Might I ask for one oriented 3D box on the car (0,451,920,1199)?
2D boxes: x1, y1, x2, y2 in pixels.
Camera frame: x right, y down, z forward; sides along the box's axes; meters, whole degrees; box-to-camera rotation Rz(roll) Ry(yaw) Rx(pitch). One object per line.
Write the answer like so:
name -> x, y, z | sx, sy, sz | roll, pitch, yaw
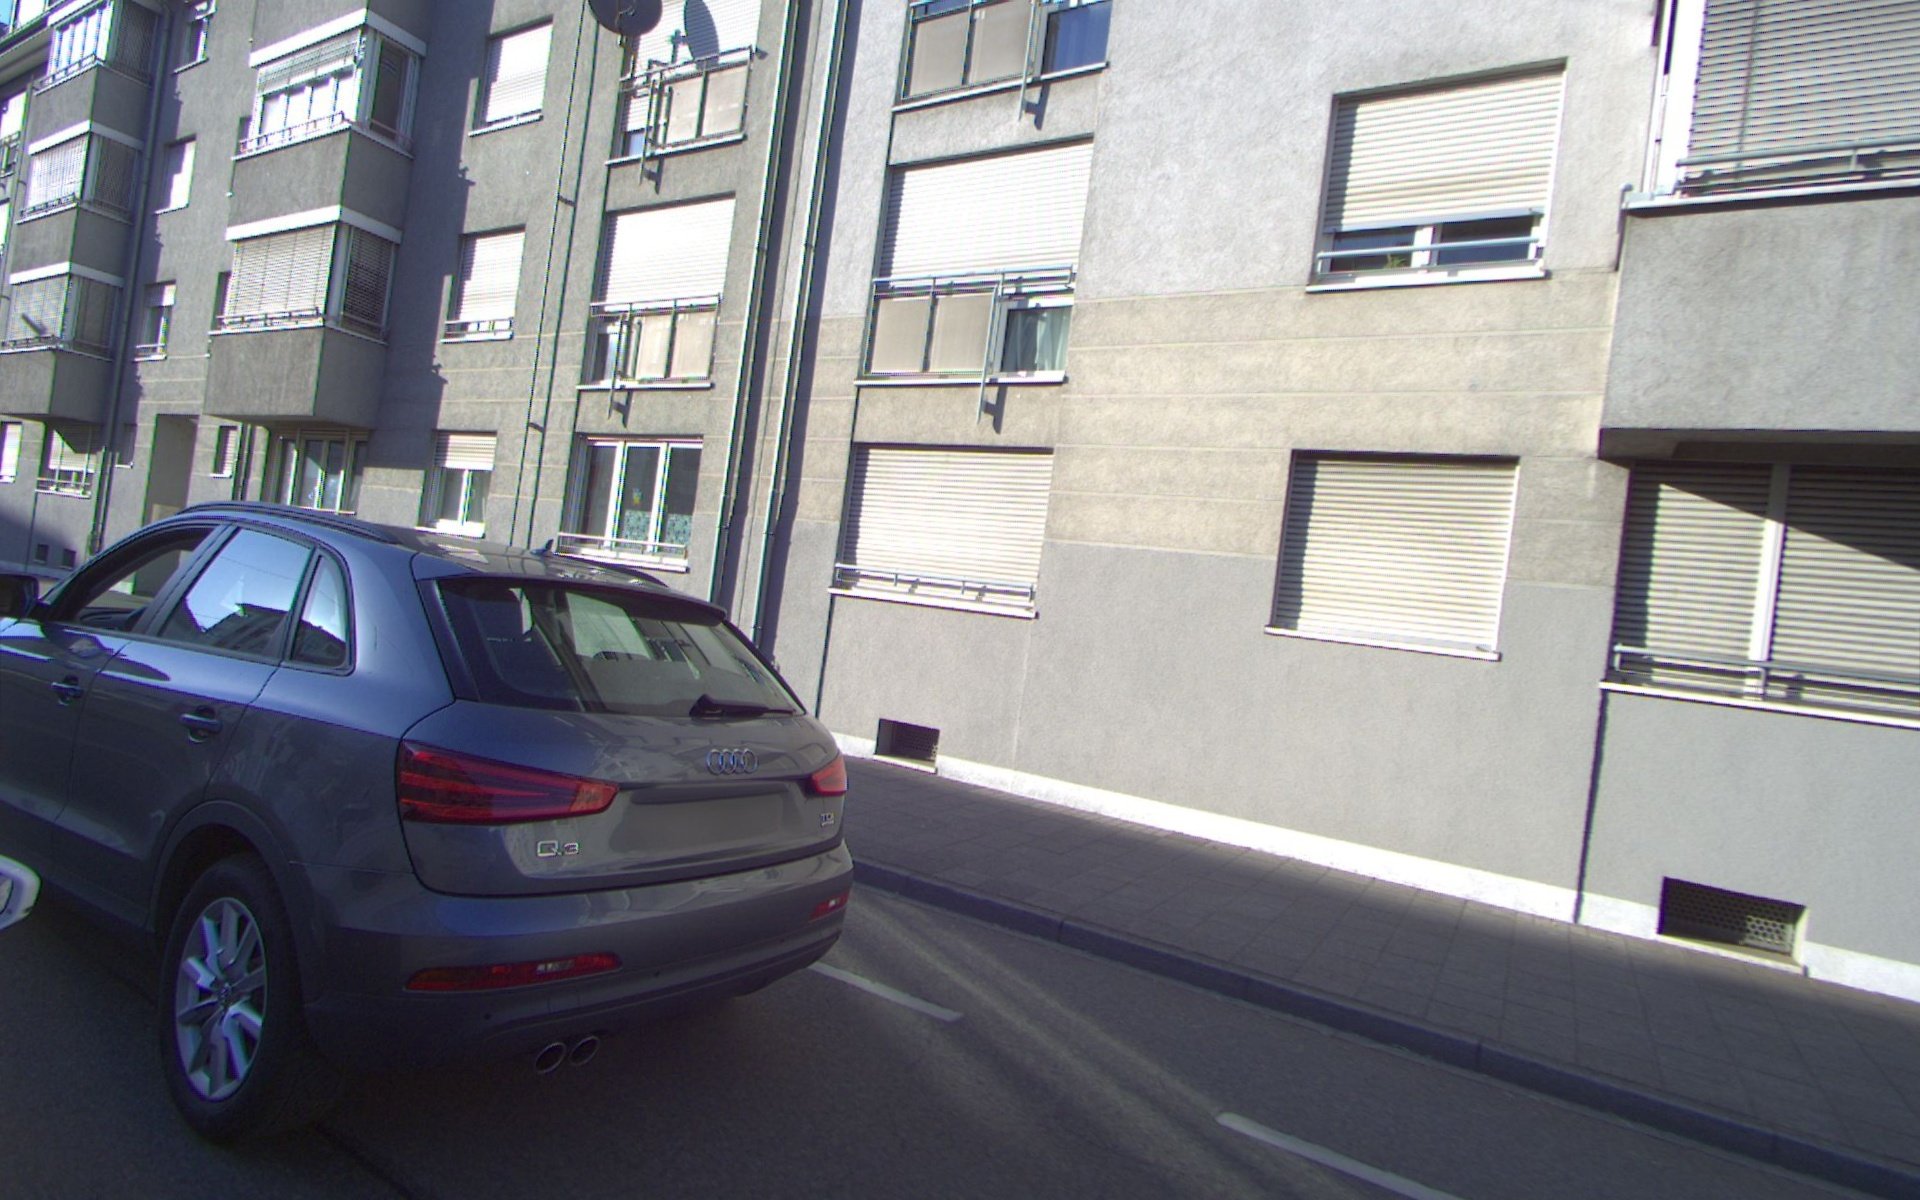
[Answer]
car -> -2.378, 0.439, 3.837 | 4.001, 1.606, 1.769 | 7, -1, 32
